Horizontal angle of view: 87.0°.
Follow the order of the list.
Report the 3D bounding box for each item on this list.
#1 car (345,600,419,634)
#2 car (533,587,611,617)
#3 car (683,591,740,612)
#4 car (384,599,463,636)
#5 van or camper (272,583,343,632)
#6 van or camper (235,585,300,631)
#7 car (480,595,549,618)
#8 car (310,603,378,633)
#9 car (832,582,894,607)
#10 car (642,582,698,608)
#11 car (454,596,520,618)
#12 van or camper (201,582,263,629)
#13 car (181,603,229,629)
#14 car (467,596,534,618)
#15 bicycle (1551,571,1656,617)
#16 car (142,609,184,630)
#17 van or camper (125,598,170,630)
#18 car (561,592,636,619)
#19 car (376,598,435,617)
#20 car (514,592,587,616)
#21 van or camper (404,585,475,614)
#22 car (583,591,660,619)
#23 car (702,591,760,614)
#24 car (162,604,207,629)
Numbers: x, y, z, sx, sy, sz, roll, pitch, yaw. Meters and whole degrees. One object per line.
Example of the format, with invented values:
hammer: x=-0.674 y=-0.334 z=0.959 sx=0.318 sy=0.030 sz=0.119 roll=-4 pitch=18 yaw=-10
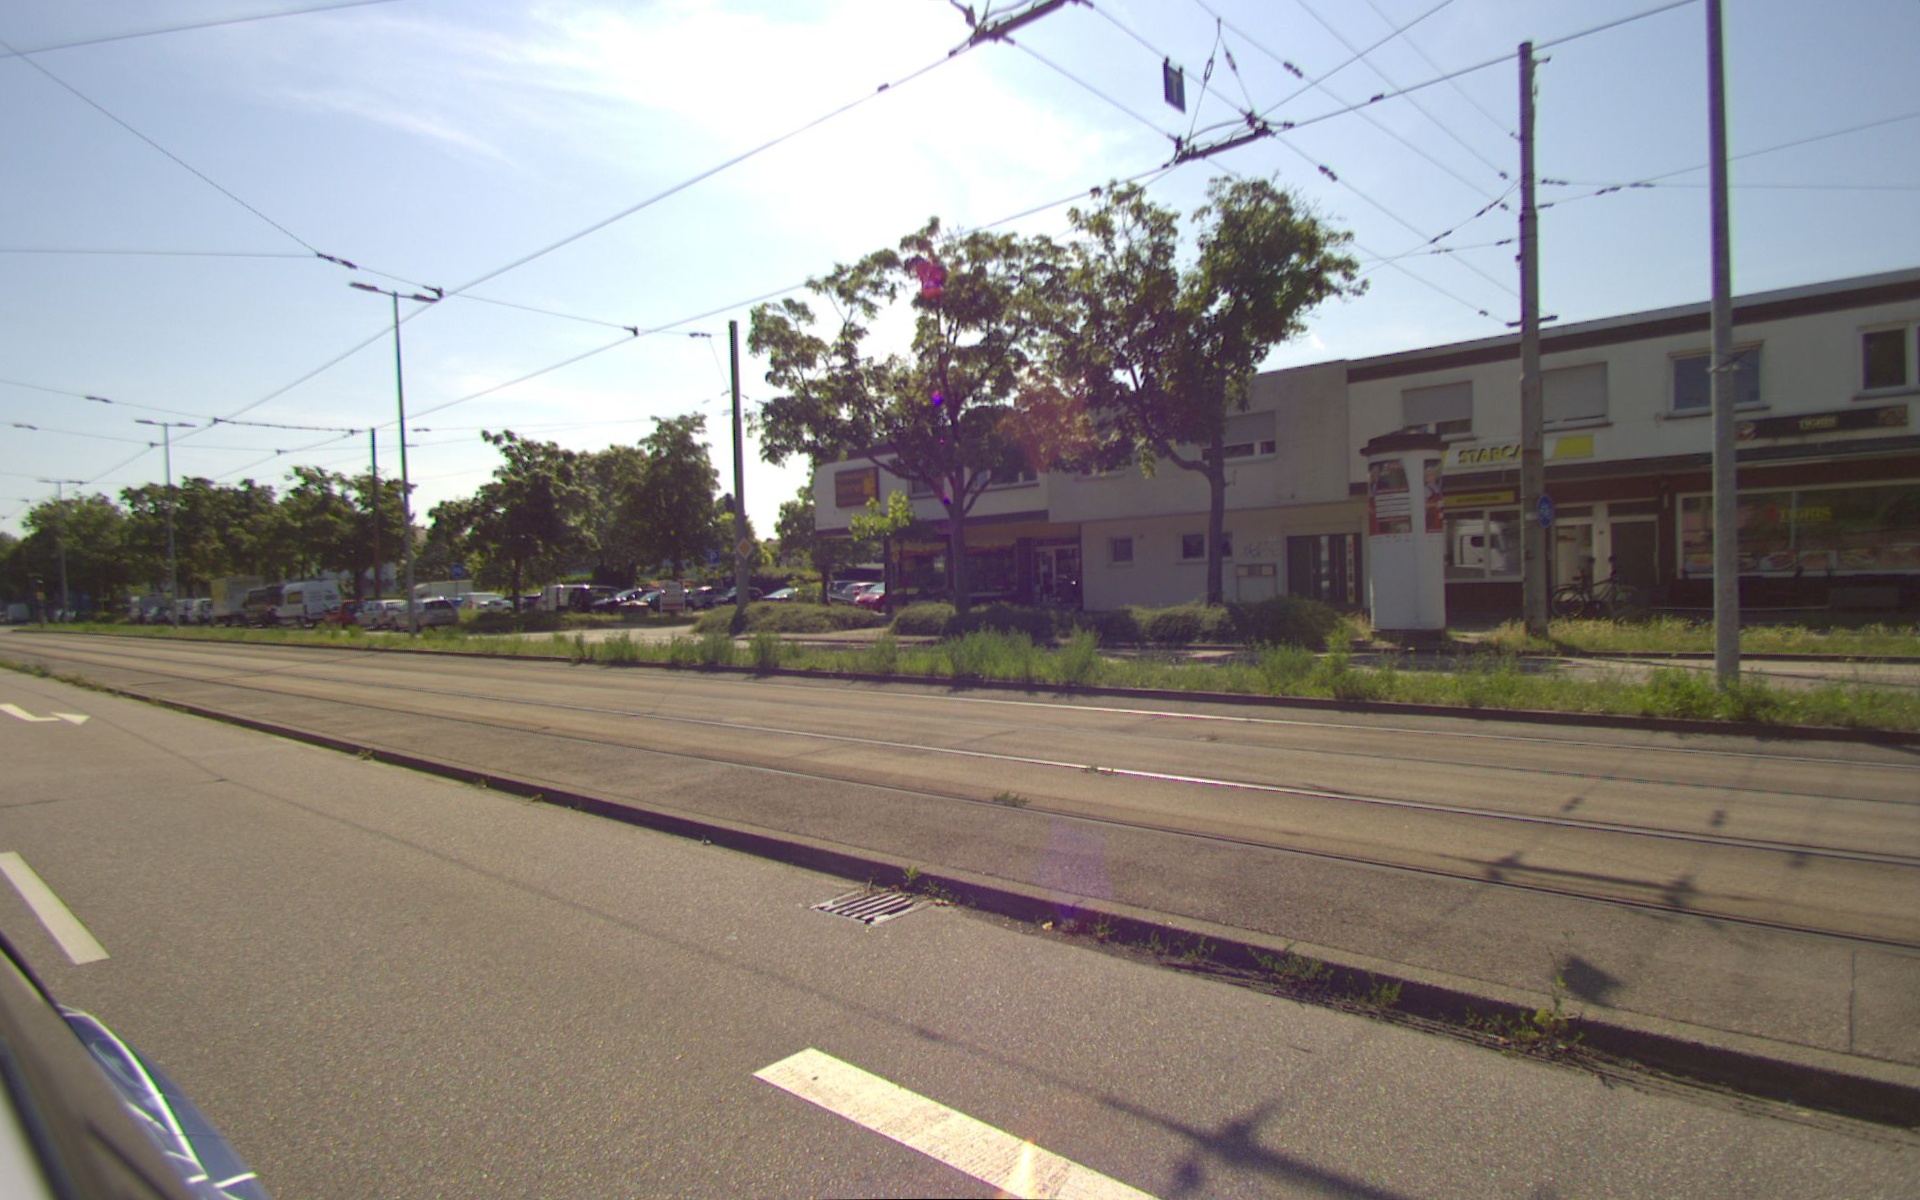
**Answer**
car: x=-29.159 y=0.857 z=51.020 sx=4.282 sy=1.572 sz=1.869 roll=-1 pitch=1 yaw=41
car: x=-22.216 y=0.118 z=57.996 sx=1.949 sy=1.581 sz=3.703 roll=-1 pitch=1 yaw=39
car: x=-17.485 y=0.103 z=71.225 sx=1.710 sy=1.372 sz=3.580 roll=-1 pitch=1 yaw=39
car: x=-25.174 y=0.831 z=47.431 sx=4.285 sy=1.506 sz=1.868 roll=-1 pitch=4 yaw=43
van or camper: x=-37.115 y=0.425 z=57.523 sx=4.836 sy=2.652 sz=2.014 roll=-1 pitch=1 yaw=41
van or camper: x=-42.501 y=0.494 z=62.074 sx=4.836 sy=2.652 sz=2.014 roll=-1 pitch=1 yaw=41
car: x=-28.055 y=0.412 z=63.777 sx=1.811 sy=1.291 sz=3.580 roll=-1 pitch=1 yaw=39
car: x=-33.176 y=0.971 z=54.496 sx=4.229 sy=1.506 sz=1.869 roll=-1 pitch=1 yaw=41
car: x=-5.866 y=-0.361 z=61.345 sx=1.710 sy=1.372 sz=3.580 roll=-1 pitch=1 yaw=39
car: x=-21.321 y=-0.371 z=74.405 sx=1.710 sy=1.791 sz=3.580 roll=-1 pitch=1 yaw=39
car: x=-31.562 y=0.457 z=67.622 sx=1.710 sy=1.291 sz=3.580 roll=-1 pitch=1 yaw=39
van or camper: x=-48.440 y=0.392 z=67.273 sx=5.278 sy=3.007 sz=2.101 roll=-1 pitch=1 yaw=41
car: x=-54.661 y=1.178 z=73.217 sx=4.229 sy=1.747 sz=1.869 roll=-1 pitch=1 yaw=41
car: x=-29.843 y=0.435 z=65.849 sx=1.710 sy=1.291 sz=3.580 roll=-1 pitch=1 yaw=39
bicycle: x=14.637 y=-0.129 z=23.047 sx=1.910 sy=0.990 sz=0.750 roll=-1 pitch=1 yaw=41
car: x=-64.391 y=1.567 z=81.729 sx=4.229 sy=1.572 sz=1.869 roll=-1 pitch=1 yaw=41
van or camper: x=-69.412 y=1.159 z=86.434 sx=5.450 sy=2.639 sz=2.087 roll=-1 pitch=0 yaw=41
car: x=-20.185 y=0.274 z=56.573 sx=1.710 sy=1.372 sz=3.580 roll=-1 pitch=1 yaw=39
car: x=-42.262 y=0.594 z=77.208 sx=1.710 sy=1.291 sz=3.580 roll=-1 pitch=1 yaw=39
car: x=-24.026 y=0.227 z=59.452 sx=1.710 sy=1.294 sz=3.580 roll=-1 pitch=1 yaw=39
van or camper: x=-53.076 y=-0.096 z=103.257 sx=2.299 sy=2.751 sz=6.002 roll=-1 pitch=1 yaw=43
car: x=-18.233 y=0.249 z=54.634 sx=1.710 sy=1.372 sz=3.580 roll=-1 pitch=1 yaw=39
car: x=-15.645 y=0.163 z=69.386 sx=1.710 sy=1.372 sz=3.580 roll=-1 pitch=1 yaw=39
car: x=-59.749 y=1.272 z=77.937 sx=4.229 sy=1.781 sz=1.869 roll=-1 pitch=1 yaw=41
